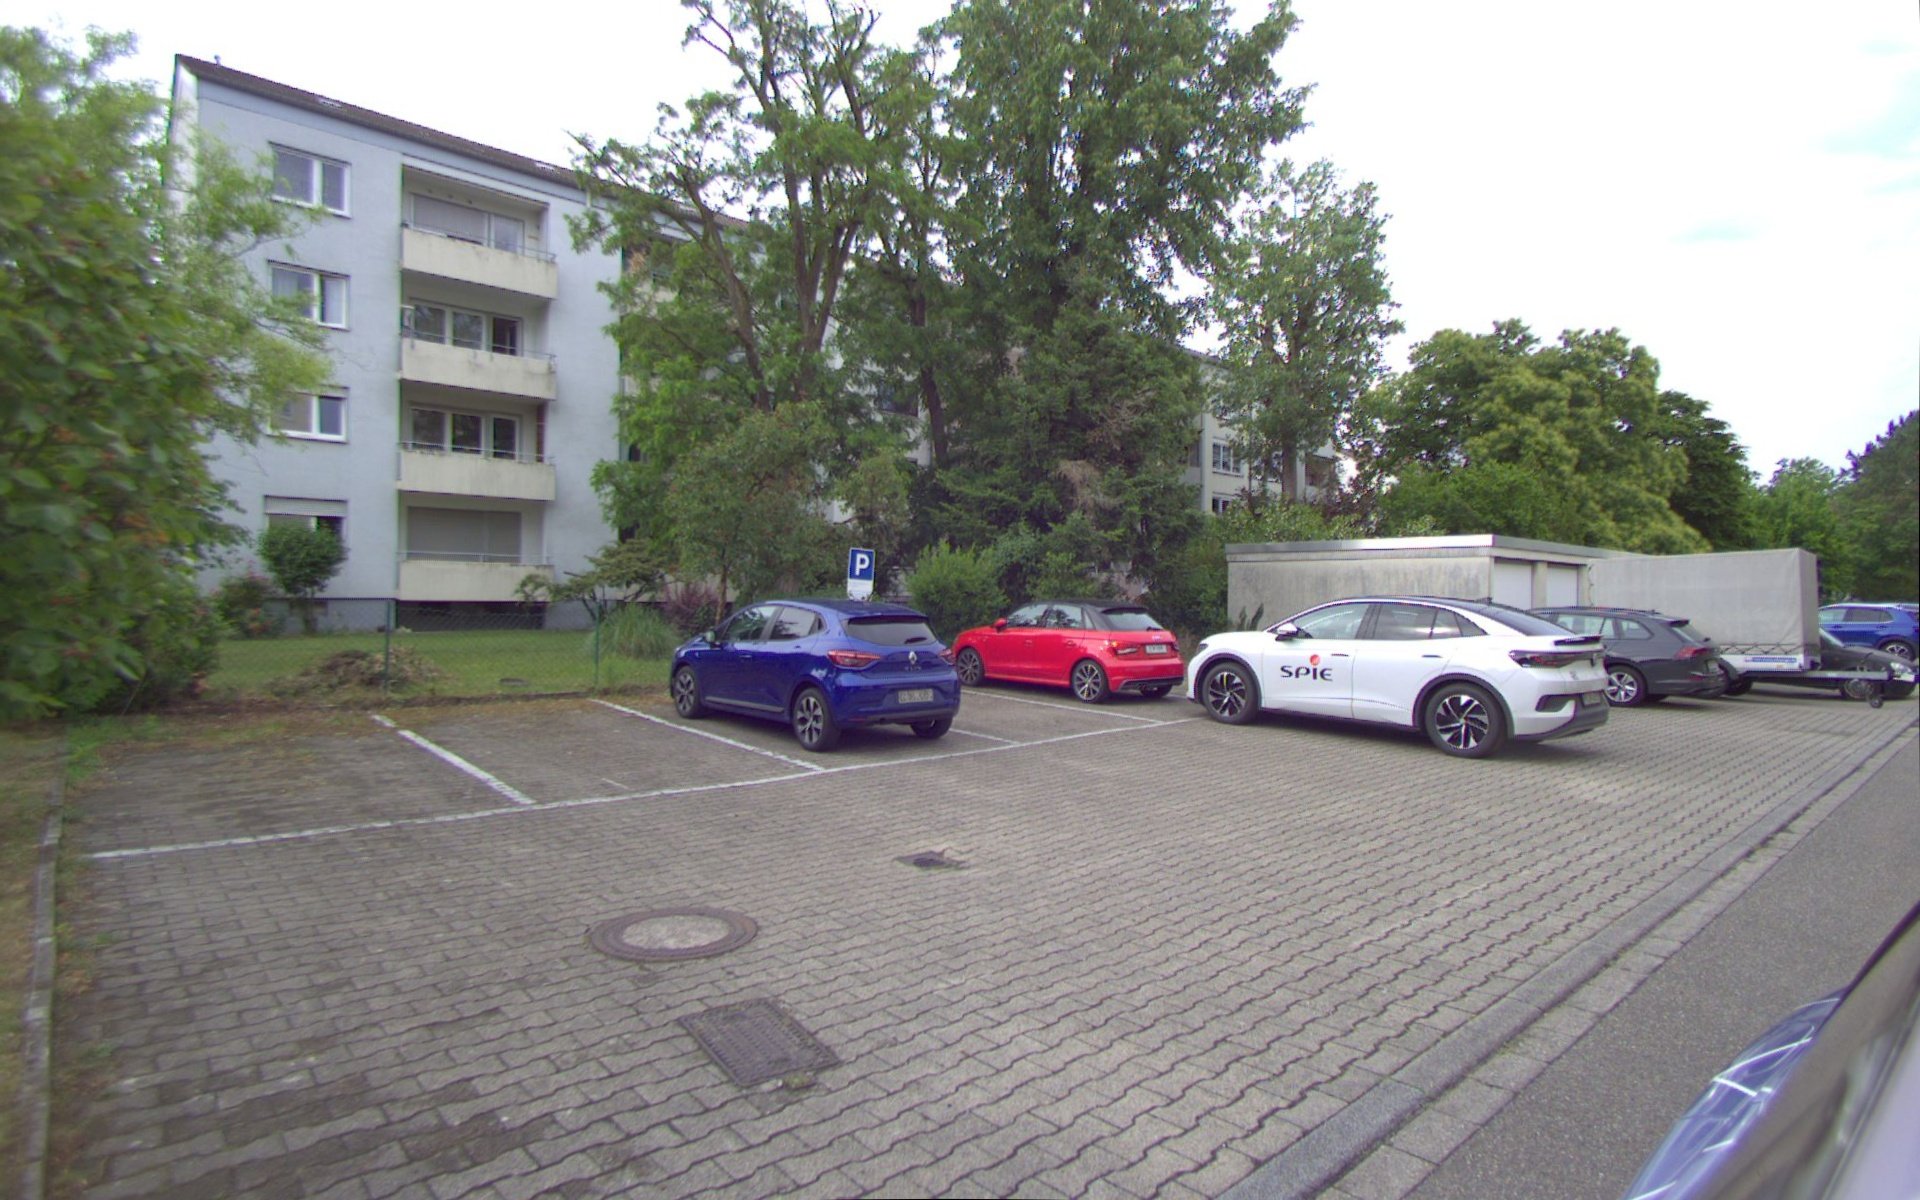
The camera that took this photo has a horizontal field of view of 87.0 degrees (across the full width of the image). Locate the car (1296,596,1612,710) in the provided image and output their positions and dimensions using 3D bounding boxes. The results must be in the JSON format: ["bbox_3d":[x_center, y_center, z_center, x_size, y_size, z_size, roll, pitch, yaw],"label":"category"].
[{"bbox_3d":[7.546,0.708,15.763,1.880,1.467,4.005,1,1,-39],"label":"car"}]

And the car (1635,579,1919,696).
[{"bbox_3d":[15.680,0.617,19.264,1.966,1.824,4.318,1,2,-42],"label":"car"}]

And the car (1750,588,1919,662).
[{"bbox_3d":[24.116,0.633,27.393,1.966,1.724,3.994,1,2,-42],"label":"car"}]

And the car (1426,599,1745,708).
[{"bbox_3d":[10.002,0.761,16.444,1.585,1.467,4.133,1,1,-42],"label":"car"}]

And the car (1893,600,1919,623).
[{"bbox_3d":[64.718,0.817,67.045,1.757,1.503,4.099,0,2,-43],"label":"car"}]

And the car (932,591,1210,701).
[{"bbox_3d":[1.568,0.596,15.338,1.937,1.398,3.903,1,0,-42],"label":"car"}]

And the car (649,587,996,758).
[{"bbox_3d":[-1.667,0.640,11.279,1.992,1.530,3.903,1,0,-42],"label":"car"}]

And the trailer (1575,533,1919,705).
[{"bbox_3d":[13.505,0.279,17.442,1.909,2.557,4.616,1,0,-41],"label":"trailer"}]

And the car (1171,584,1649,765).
[{"bbox_3d":[4.811,0.646,11.419,1.953,1.609,4.546,1,0,-40],"label":"car"}]

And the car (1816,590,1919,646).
[{"bbox_3d":[32.546,0.647,35.004,1.966,1.748,4.202,1,2,-42],"label":"car"}]
